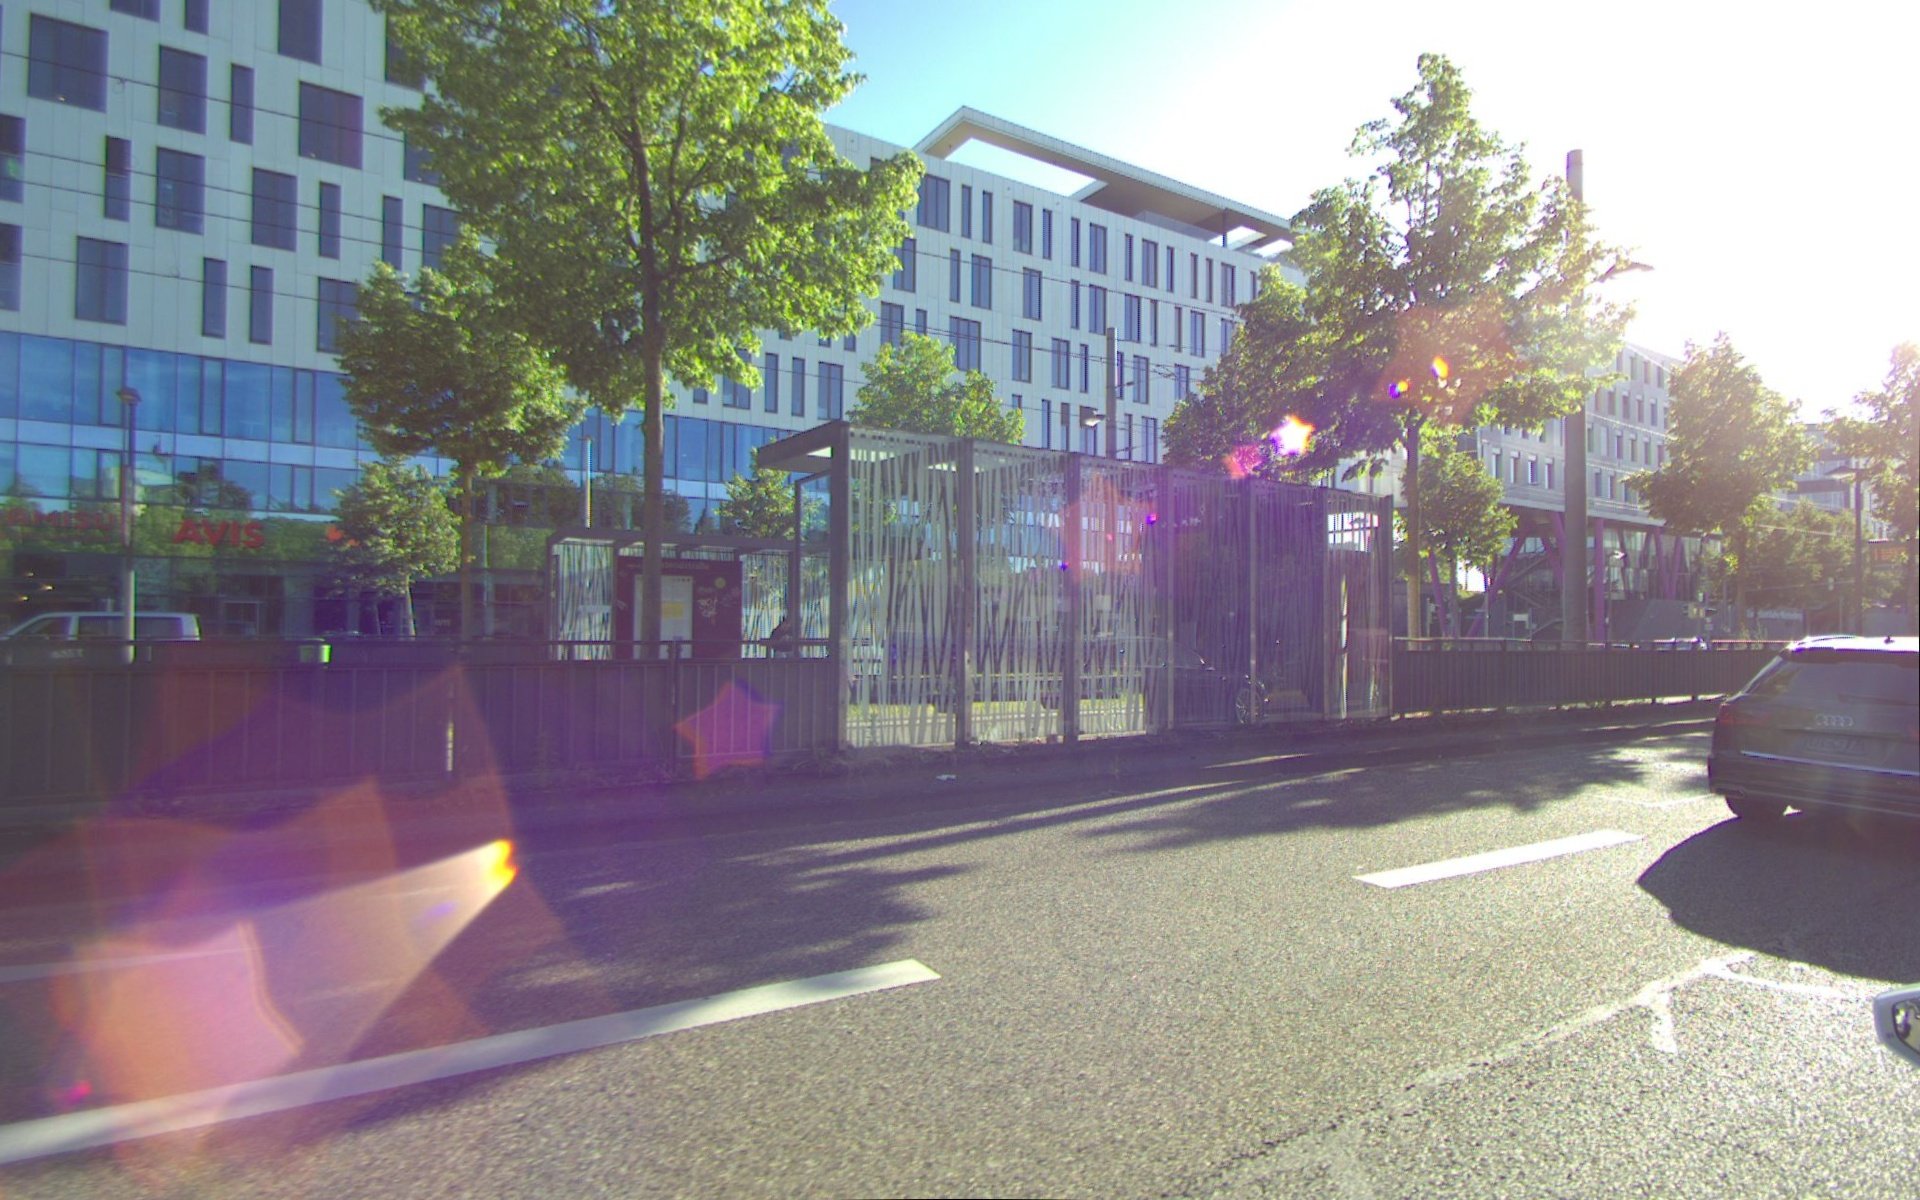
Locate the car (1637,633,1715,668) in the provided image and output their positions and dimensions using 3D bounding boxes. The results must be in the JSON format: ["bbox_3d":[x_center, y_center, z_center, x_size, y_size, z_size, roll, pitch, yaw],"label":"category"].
[{"bbox_3d":[40.028,2.833,56.119,3.950,1.788,1.985,2,0,-28],"label":"car"}]

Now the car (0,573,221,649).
[{"bbox_3d":[-21.808,0.289,25.383,4.797,1.737,1.983,2,-1,-31],"label":"car"}]

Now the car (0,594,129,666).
[{"bbox_3d":[-28.251,0.895,30.332,4.512,2.040,1.983,2,0,-31],"label":"car"}]

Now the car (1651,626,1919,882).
[{"bbox_3d":[7.701,1.007,7.767,5.025,1.500,1.943,2,0,-30],"label":"car"}]
